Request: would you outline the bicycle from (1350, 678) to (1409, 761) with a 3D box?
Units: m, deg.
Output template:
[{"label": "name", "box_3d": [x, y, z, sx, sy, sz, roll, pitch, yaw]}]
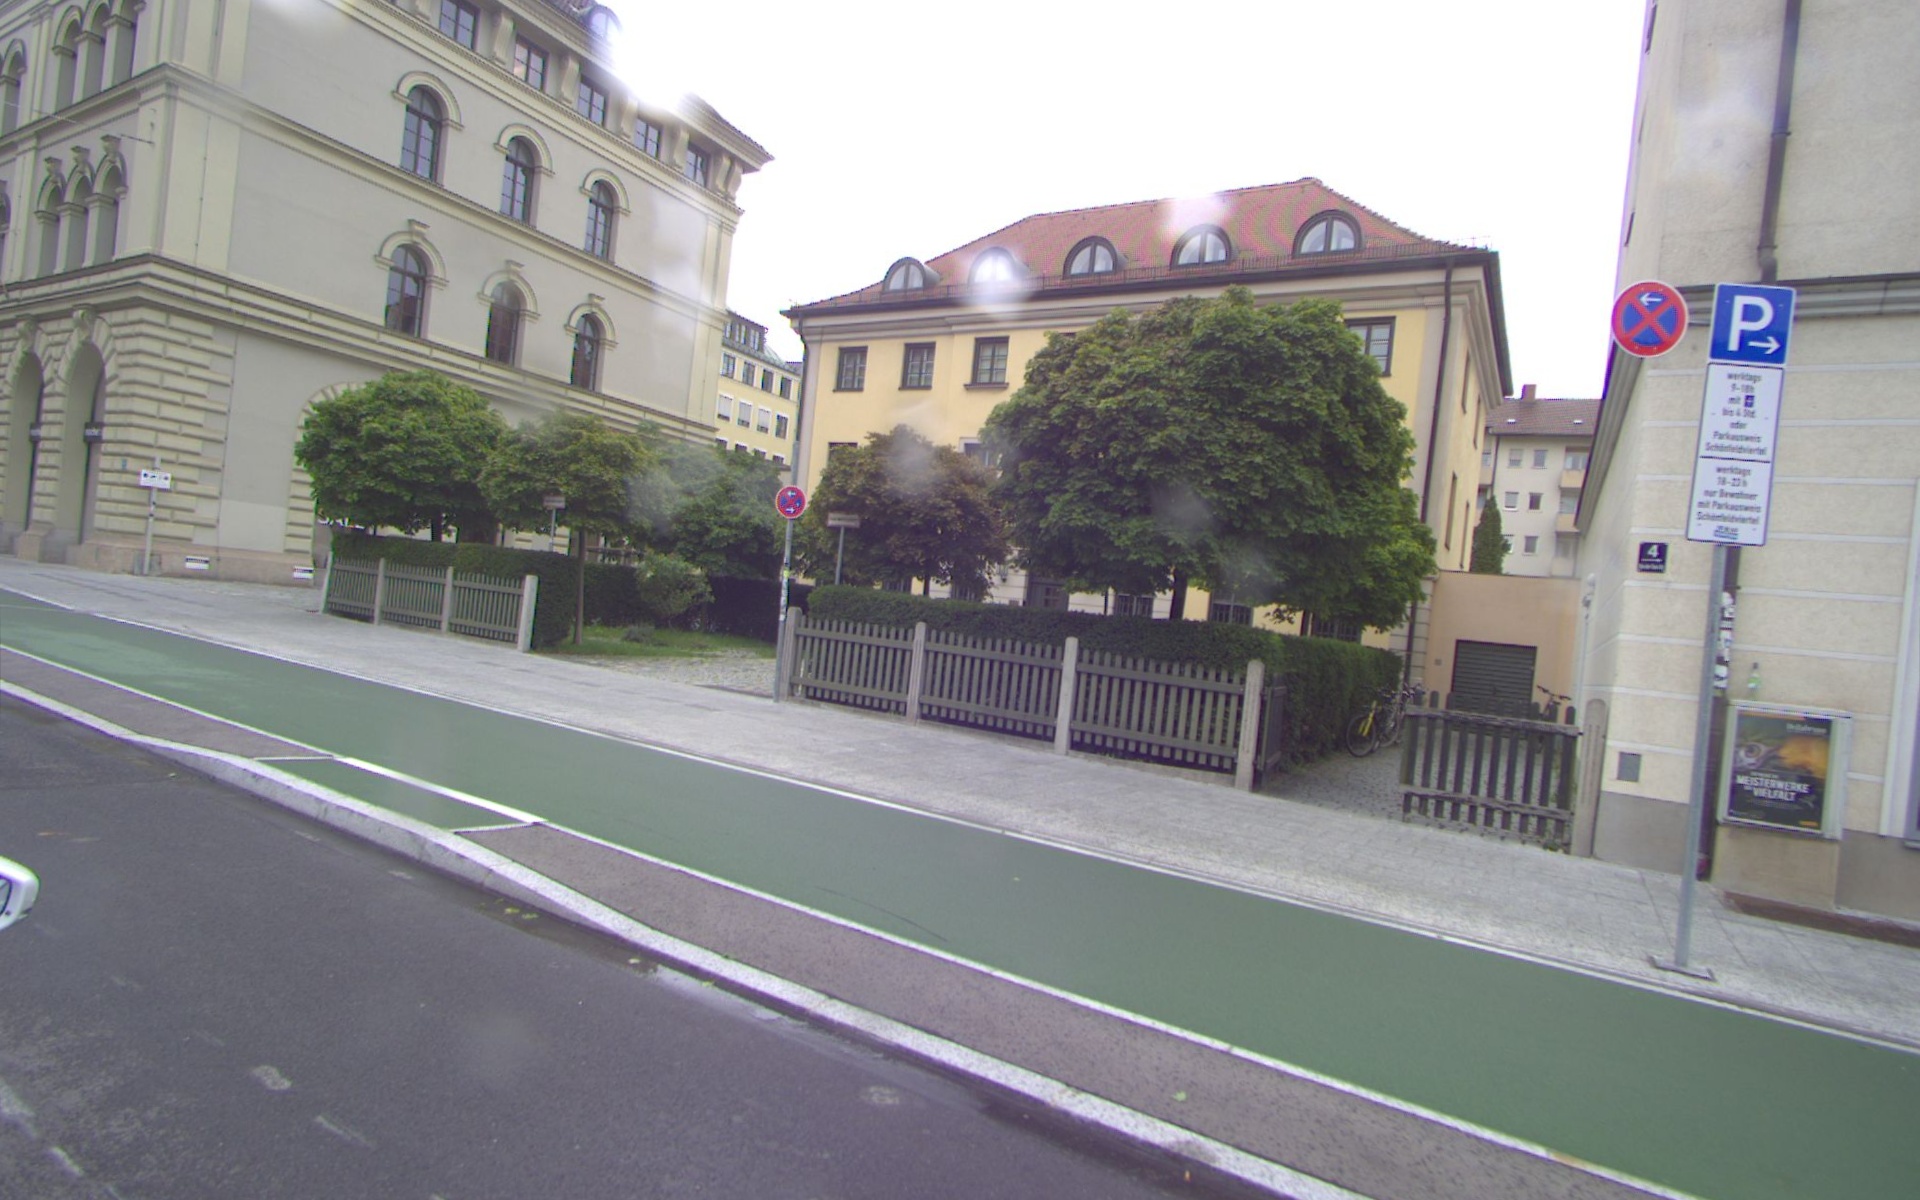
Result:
[{"label": "bicycle", "box_3d": [6.420, 1.794, 15.342, 0.512, 1.130, 1.830, 6, -1, 30]}]

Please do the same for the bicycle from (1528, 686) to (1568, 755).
[{"label": "bicycle", "box_3d": [11.084, 2.246, 18.997, 0.512, 1.185, 1.830, 6, -1, 30]}]

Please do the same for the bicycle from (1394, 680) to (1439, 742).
[{"label": "bicycle", "box_3d": [8.549, 2.050, 18.812, 0.512, 1.048, 1.830, 6, -1, 30]}]

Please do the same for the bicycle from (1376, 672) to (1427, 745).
[{"label": "bicycle", "box_3d": [7.558, 1.836, 17.177, 0.512, 1.124, 1.830, 6, -1, 30]}]
